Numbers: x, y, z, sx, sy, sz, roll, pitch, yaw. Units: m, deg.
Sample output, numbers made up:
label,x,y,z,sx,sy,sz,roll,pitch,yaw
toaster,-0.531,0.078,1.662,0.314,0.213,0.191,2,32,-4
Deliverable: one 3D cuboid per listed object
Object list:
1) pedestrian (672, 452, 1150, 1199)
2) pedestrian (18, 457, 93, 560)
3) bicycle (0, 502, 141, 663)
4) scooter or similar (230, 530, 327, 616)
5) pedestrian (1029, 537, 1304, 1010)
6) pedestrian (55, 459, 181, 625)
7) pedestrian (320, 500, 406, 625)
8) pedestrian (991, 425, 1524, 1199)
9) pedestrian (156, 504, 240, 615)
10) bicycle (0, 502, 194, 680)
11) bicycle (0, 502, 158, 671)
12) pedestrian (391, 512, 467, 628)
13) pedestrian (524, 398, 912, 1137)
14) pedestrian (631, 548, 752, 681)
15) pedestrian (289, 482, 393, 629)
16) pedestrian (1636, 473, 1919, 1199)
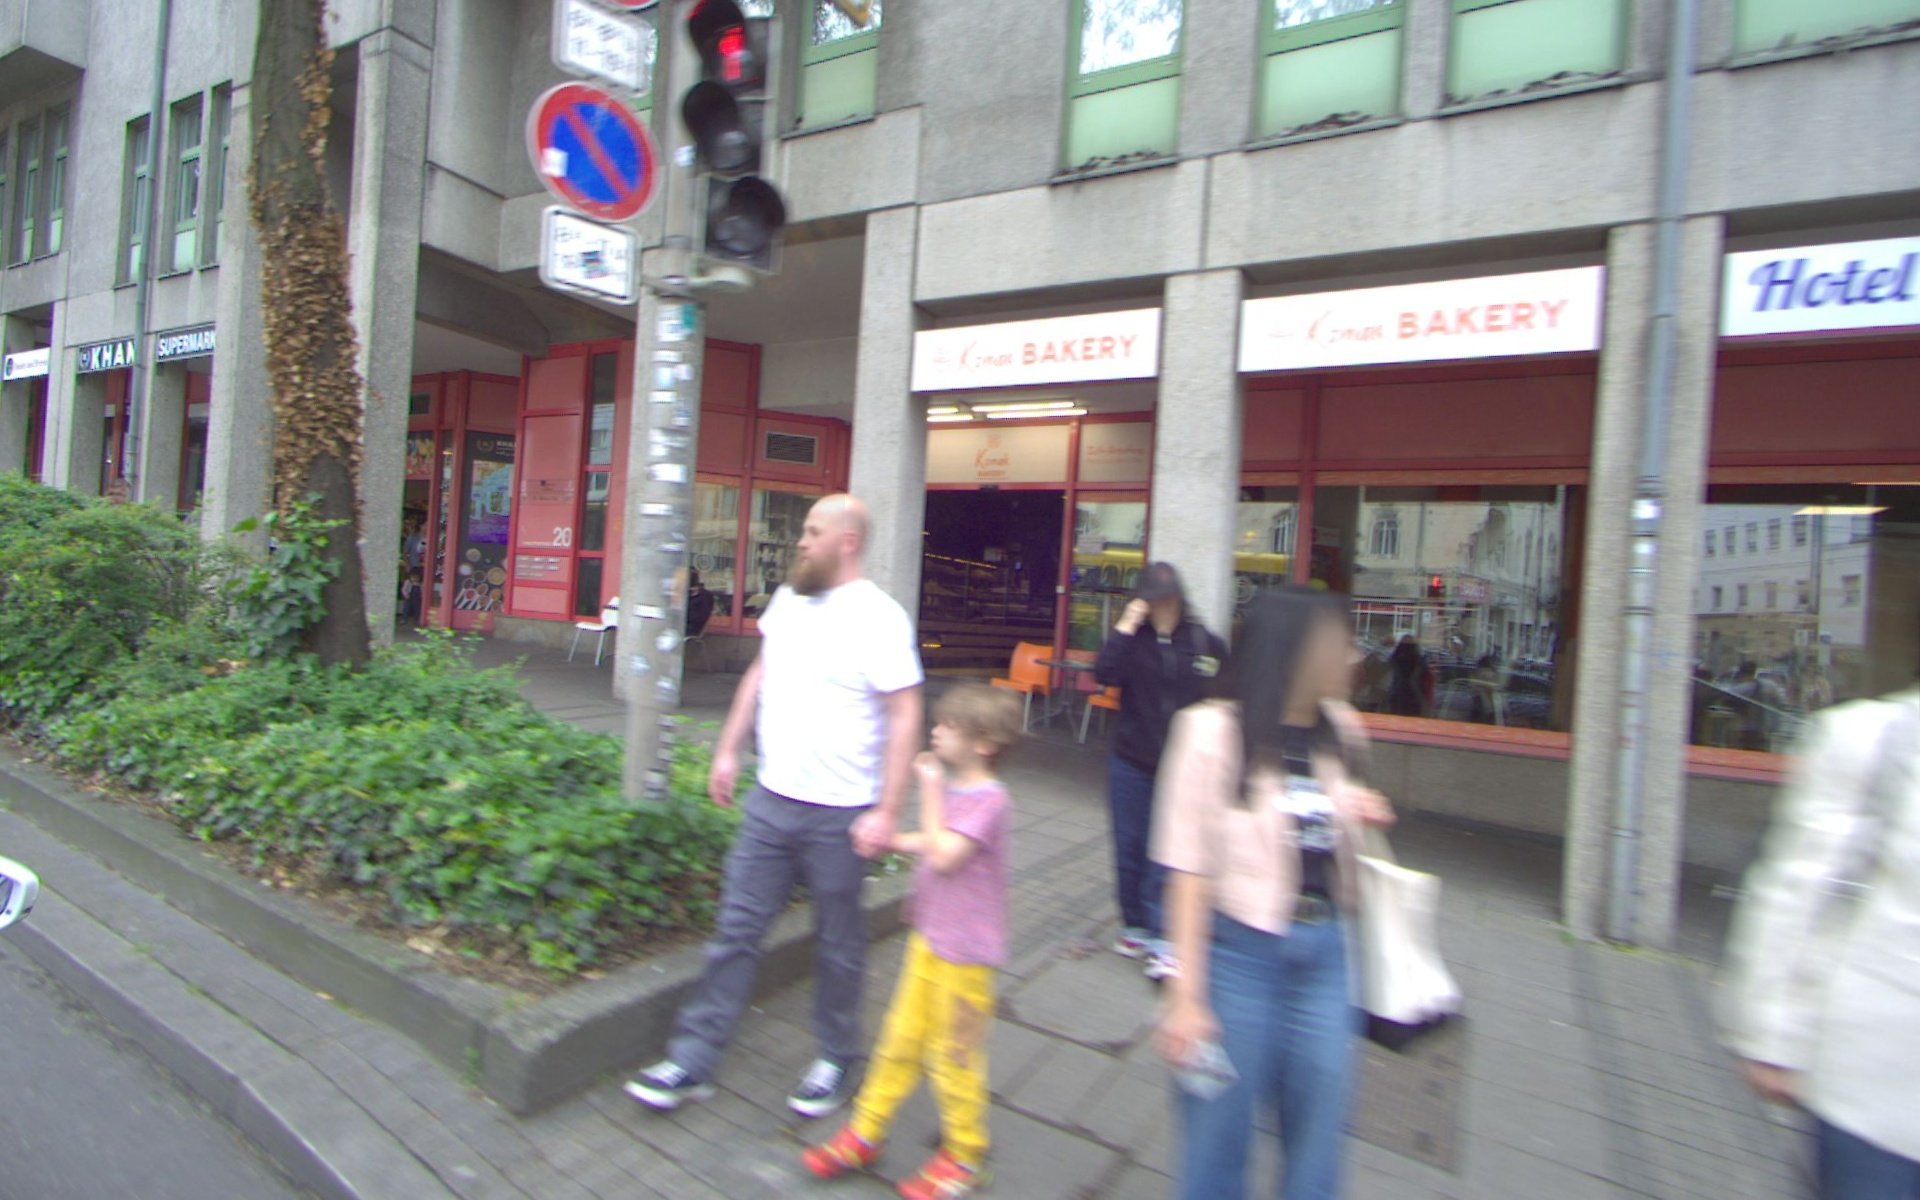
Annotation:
label,x,y,z,sx,sy,sz,roll,pitch,yaw
pedestrian,-0.072,0.504,2.539,0.751,1.581,0.838,5,-1,26
pedestrian,-17.279,-1.741,19.227,0.711,1.827,0.831,9,4,33
bicycle,-7.338,-0.148,7.614,0.440,1.199,1.711,6,2,23
scooter or similar,-9.680,-0.378,14.313,0.843,1.124,0.763,4,1,-9
pedestrian,0.834,0.626,4.019,0.751,1.634,0.617,8,3,26
pedestrian,-9.835,-0.657,11.758,0.833,1.807,0.763,8,3,25
pedestrian,-8.790,-0.544,14.822,0.666,1.744,0.762,4,-1,35
pedestrian,0.628,0.582,2.097,0.751,1.726,0.836,6,2,26
pedestrian,-12.032,-0.645,15.908,0.767,1.634,0.616,6,3,-13
bicycle,-6.552,-0.066,7.155,0.440,1.199,1.711,6,2,23
bicycle,-6.963,-0.109,7.319,0.440,1.199,1.711,6,2,23
pedestrian,-8.039,-0.447,15.219,0.752,1.634,0.616,9,3,34
pedestrian,-0.673,0.397,2.858,0.751,1.810,0.520,5,-1,26
pedestrian,-3.048,0.161,11.480,0.743,1.382,1.057,6,2,24
pedestrian,-8.178,-0.574,13.298,0.711,1.827,0.832,8,3,30
pedestrian,1.623,0.741,1.637,0.677,1.803,0.693,6,5,26
